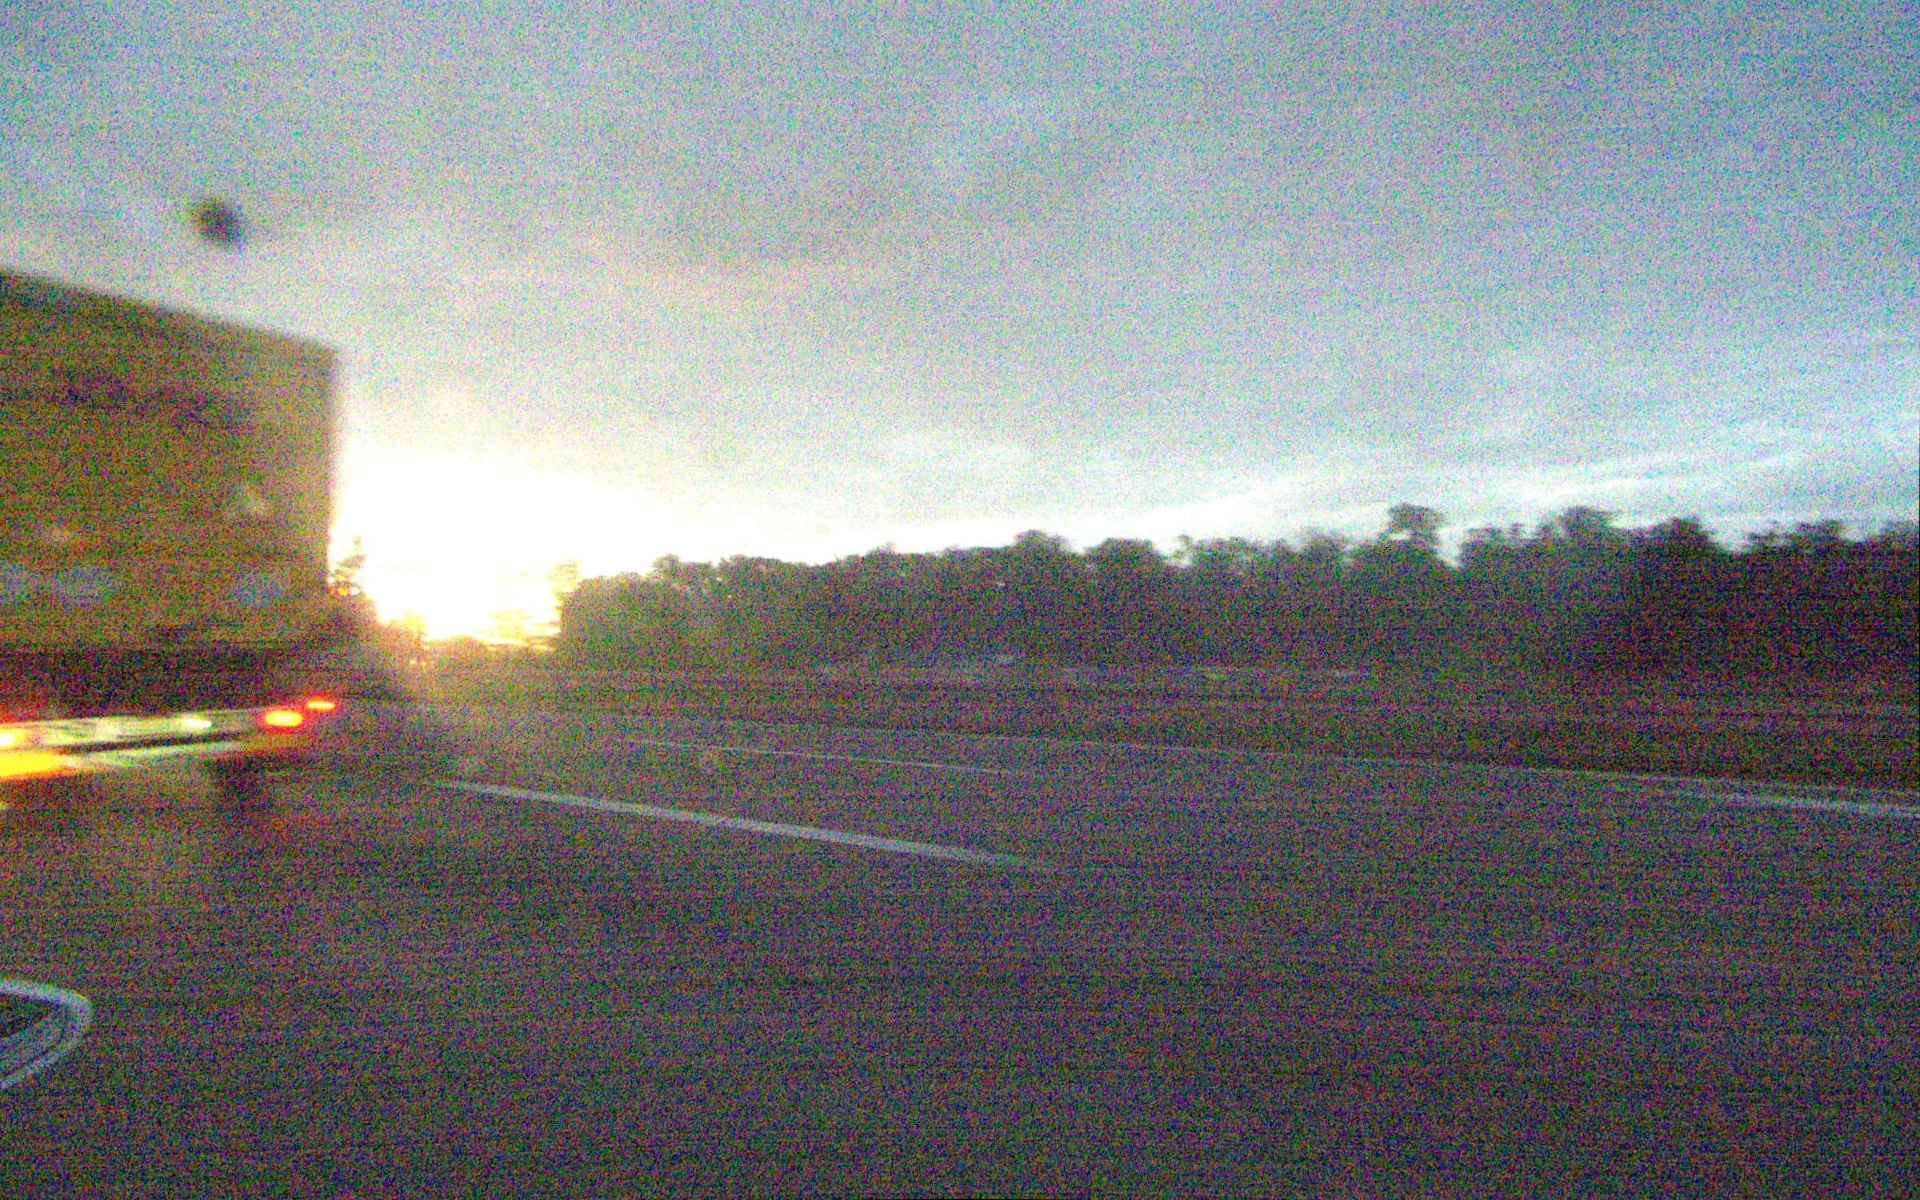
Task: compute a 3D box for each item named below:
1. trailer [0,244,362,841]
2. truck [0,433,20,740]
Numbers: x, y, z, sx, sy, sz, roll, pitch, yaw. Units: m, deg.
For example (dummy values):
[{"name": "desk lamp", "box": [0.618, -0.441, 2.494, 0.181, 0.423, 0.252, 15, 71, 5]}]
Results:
[{"name": "trailer", "box": [-9.765, -0.296, 10.133, 8.704, 4.123, 2.717, -1, -2, 32]}, {"name": "truck", "box": [-17.888, -0.125, 15.231, 10.369, 4.123, 2.686, -1, -2, 32]}]
